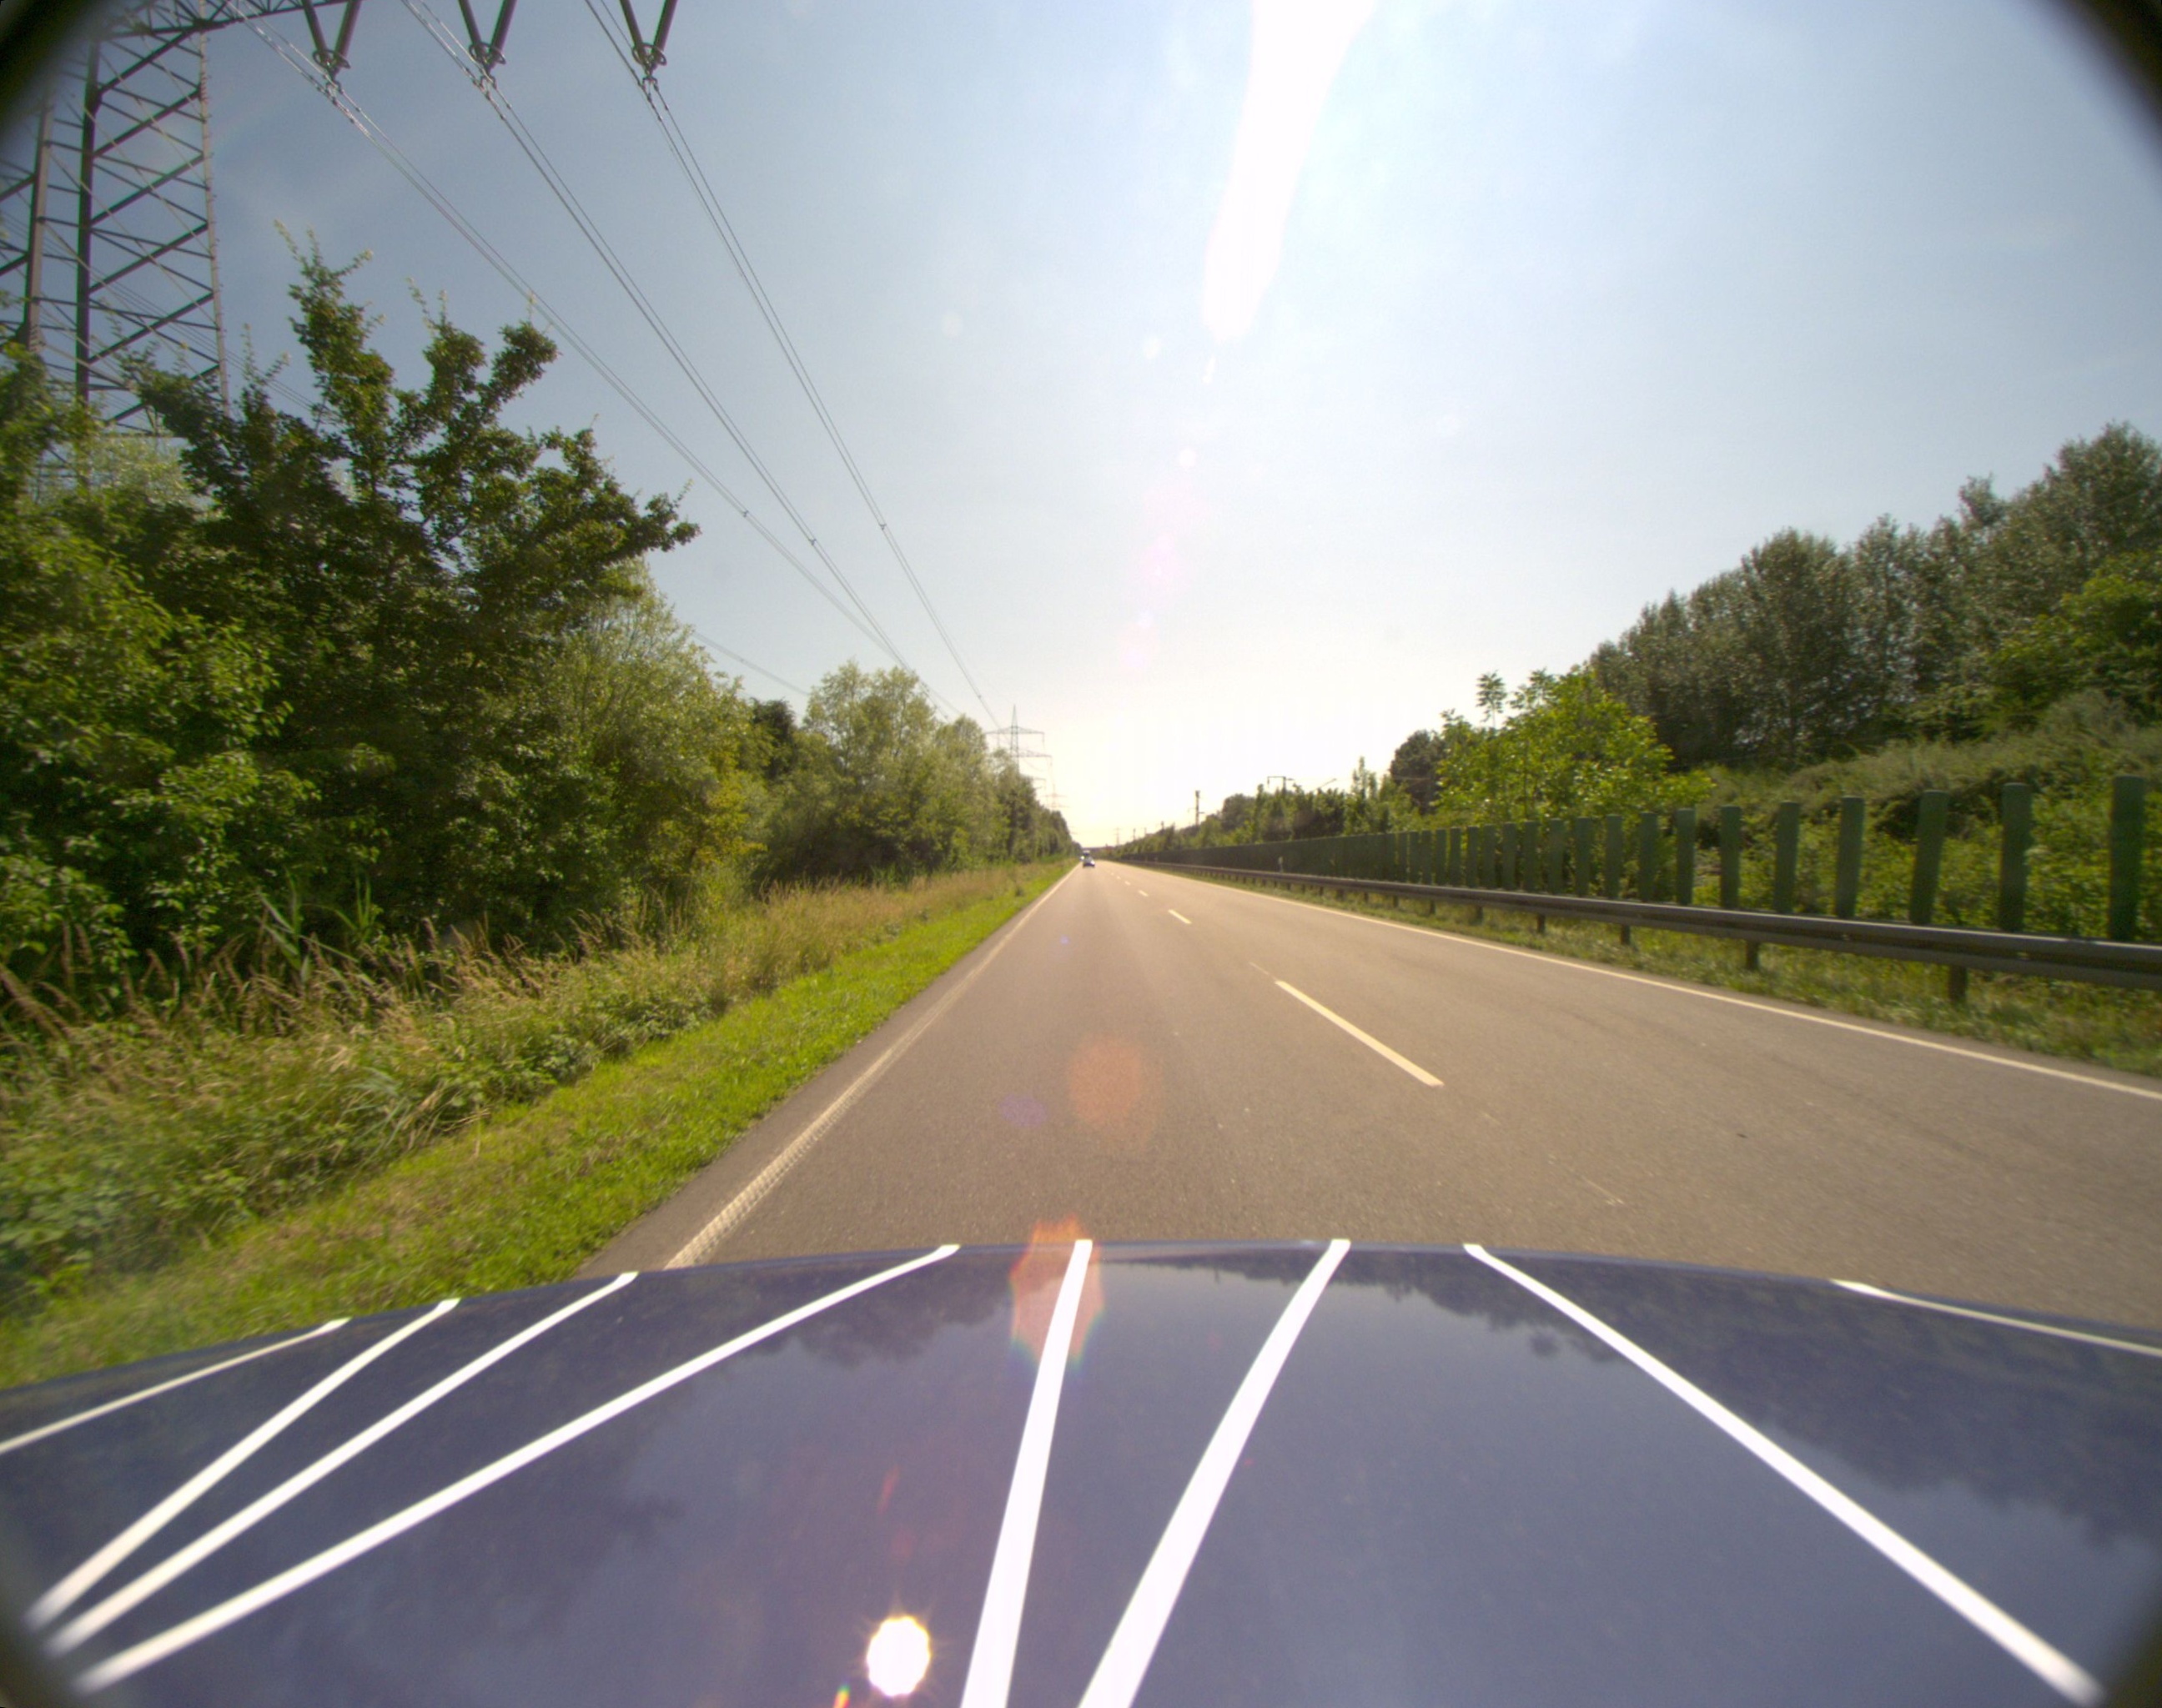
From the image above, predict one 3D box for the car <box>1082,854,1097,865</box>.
[{"bbox_3d":[1.224,0.751,106.903,1.999,1.346,4.157,-3,0,0],"label":"car"}]
